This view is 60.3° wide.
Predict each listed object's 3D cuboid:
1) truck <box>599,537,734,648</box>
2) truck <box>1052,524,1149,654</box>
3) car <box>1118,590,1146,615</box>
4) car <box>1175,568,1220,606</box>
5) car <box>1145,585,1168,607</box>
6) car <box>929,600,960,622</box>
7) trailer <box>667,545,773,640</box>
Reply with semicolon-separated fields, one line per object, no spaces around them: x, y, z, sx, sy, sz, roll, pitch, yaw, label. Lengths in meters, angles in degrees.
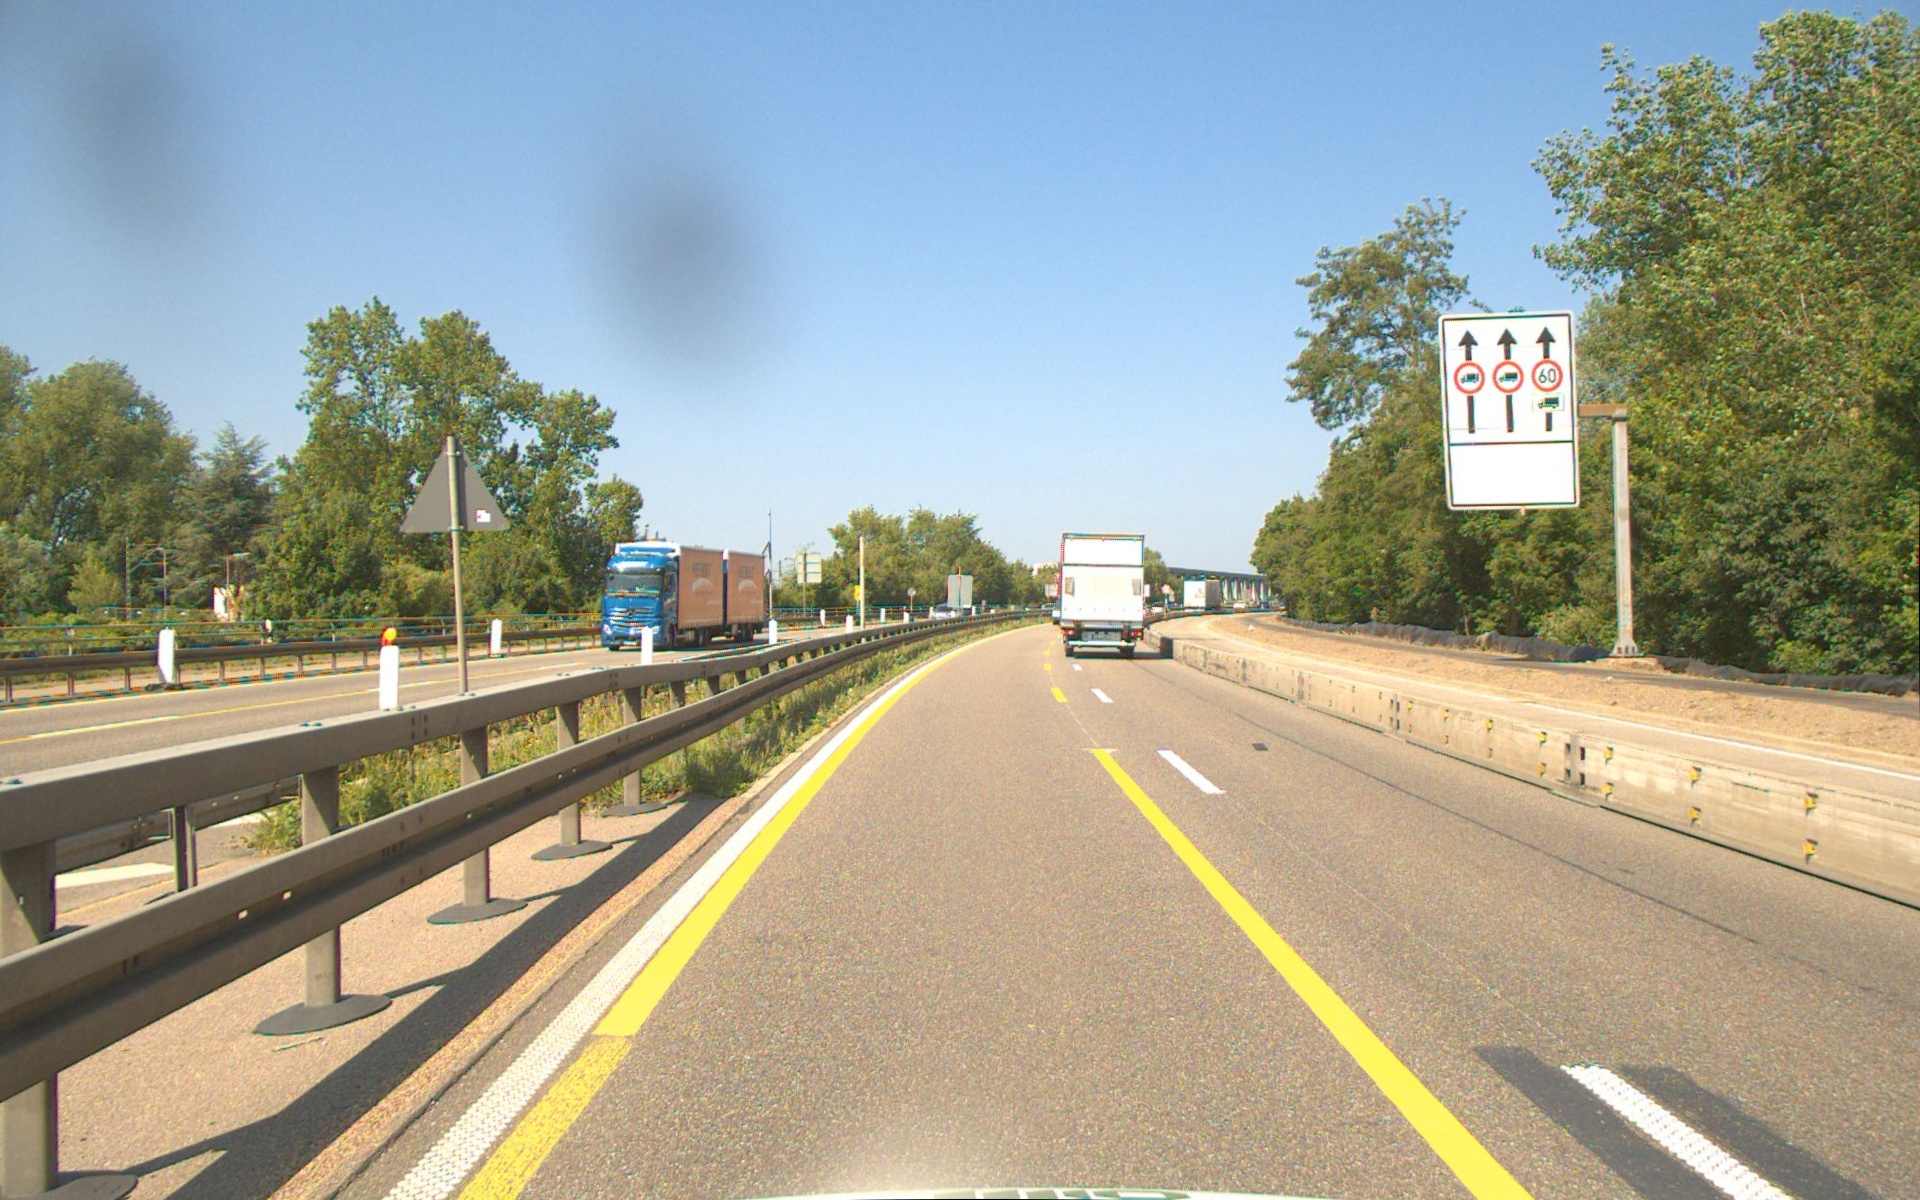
-11.737;-0.315;67.324;2.974;4.163;10.629;0;0;3;truck
4.110;-0.308;48.690;2.579;3.487;7.237;1;0;4;truck
14.406;0.195;138.506;1.951;2.049;4.004;-2;0;11;car
28.687;-1.624;199.196;4.118;4.326;10.670;-2;0;14;car
19.078;-0.434;160.814;1.951;2.049;4.004;-2;0;9;car
-1.227;0.862;130.993;1.869;1.680;4.379;-2;0;6;car
-11.104;-0.364;77.648;2.974;4.163;9.793;0;0;3;trailer
